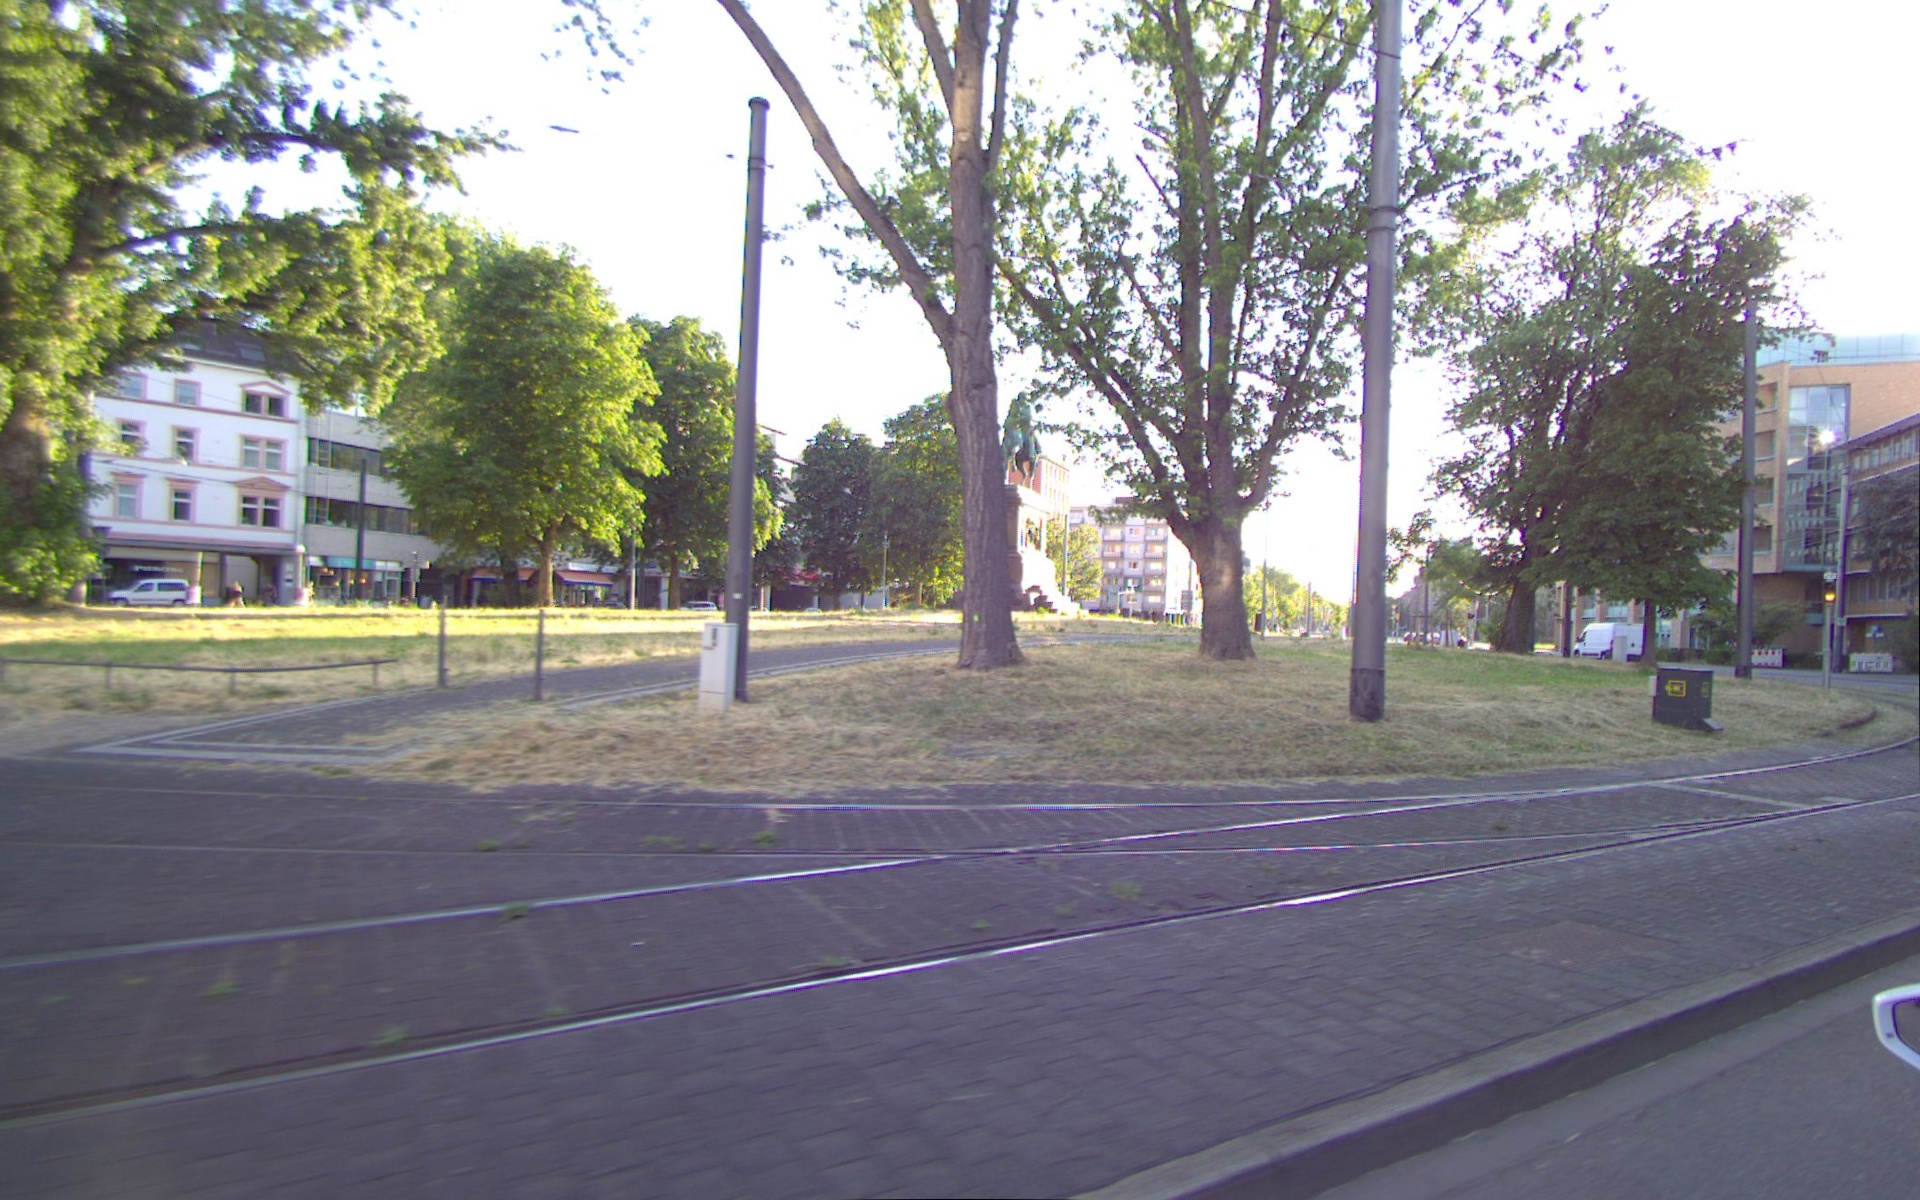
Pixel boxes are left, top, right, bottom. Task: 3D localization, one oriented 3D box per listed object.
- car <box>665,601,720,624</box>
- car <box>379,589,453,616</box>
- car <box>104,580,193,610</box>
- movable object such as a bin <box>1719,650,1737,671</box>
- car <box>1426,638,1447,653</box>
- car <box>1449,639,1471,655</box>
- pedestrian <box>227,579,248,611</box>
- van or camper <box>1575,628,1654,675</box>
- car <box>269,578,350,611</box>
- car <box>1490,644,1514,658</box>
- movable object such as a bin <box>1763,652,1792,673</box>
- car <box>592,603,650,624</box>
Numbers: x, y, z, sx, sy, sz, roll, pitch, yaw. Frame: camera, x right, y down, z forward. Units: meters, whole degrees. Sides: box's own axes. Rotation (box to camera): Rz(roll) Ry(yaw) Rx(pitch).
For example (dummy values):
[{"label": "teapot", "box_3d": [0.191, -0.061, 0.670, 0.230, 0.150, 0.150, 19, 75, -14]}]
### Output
[{"label": "car", "box_3d": [-22.711, 1.046, 85.367, 1.736, 1.818, 4.183, 2, 0, 44]}, {"label": "car", "box_3d": [-38.091, 0.182, 70.395, 1.913, 1.818, 4.183, 2, 0, 44]}, {"label": "car", "box_3d": [-48.581, -0.297, 60.157, 1.736, 1.686, 3.975, 2, 0, 44]}, {"label": "movable object such as a bin", "box_3d": [57.057, 4.474, 74.635, 0.960, 1.457, 1.338, 2, 0, 41]}, {"label": "car", "box_3d": [59.023, 5.637, 124.427, 1.764, 1.587, 4.001, 2, 0, 18]}, {"label": "car", "box_3d": [52.496, 4.917, 105.480, 1.709, 1.404, 3.999, 2, 0, 22]}, {"label": "pedestrian", "box_3d": [-39.243, -0.272, 54.574, 0.794, 1.724, 0.790, 2, 0, -43]}, {"label": "van or camper", "box_3d": [40.522, 3.162, 62.317, 2.224, 2.660, 4.505, 2, 0, 6]}, {"label": "car", "box_3d": [-42.550, -0.345, 65.772, 1.736, 1.970, 4.183, 2, 0, 44]}, {"label": "car", "box_3d": [61.167, 5.770, 113.409, 1.754, 1.372, 4.266, 3, 0, 21]}, {"label": "movable object such as a bin", "box_3d": [59.272, 4.505, 72.826, 1.318, 1.443, 0.924, 2, 0, 15]}, {"label": "car", "box_3d": [-27.509, 1.132, 81.644, 1.840, 1.577, 4.043, 2, 0, 44]}]
